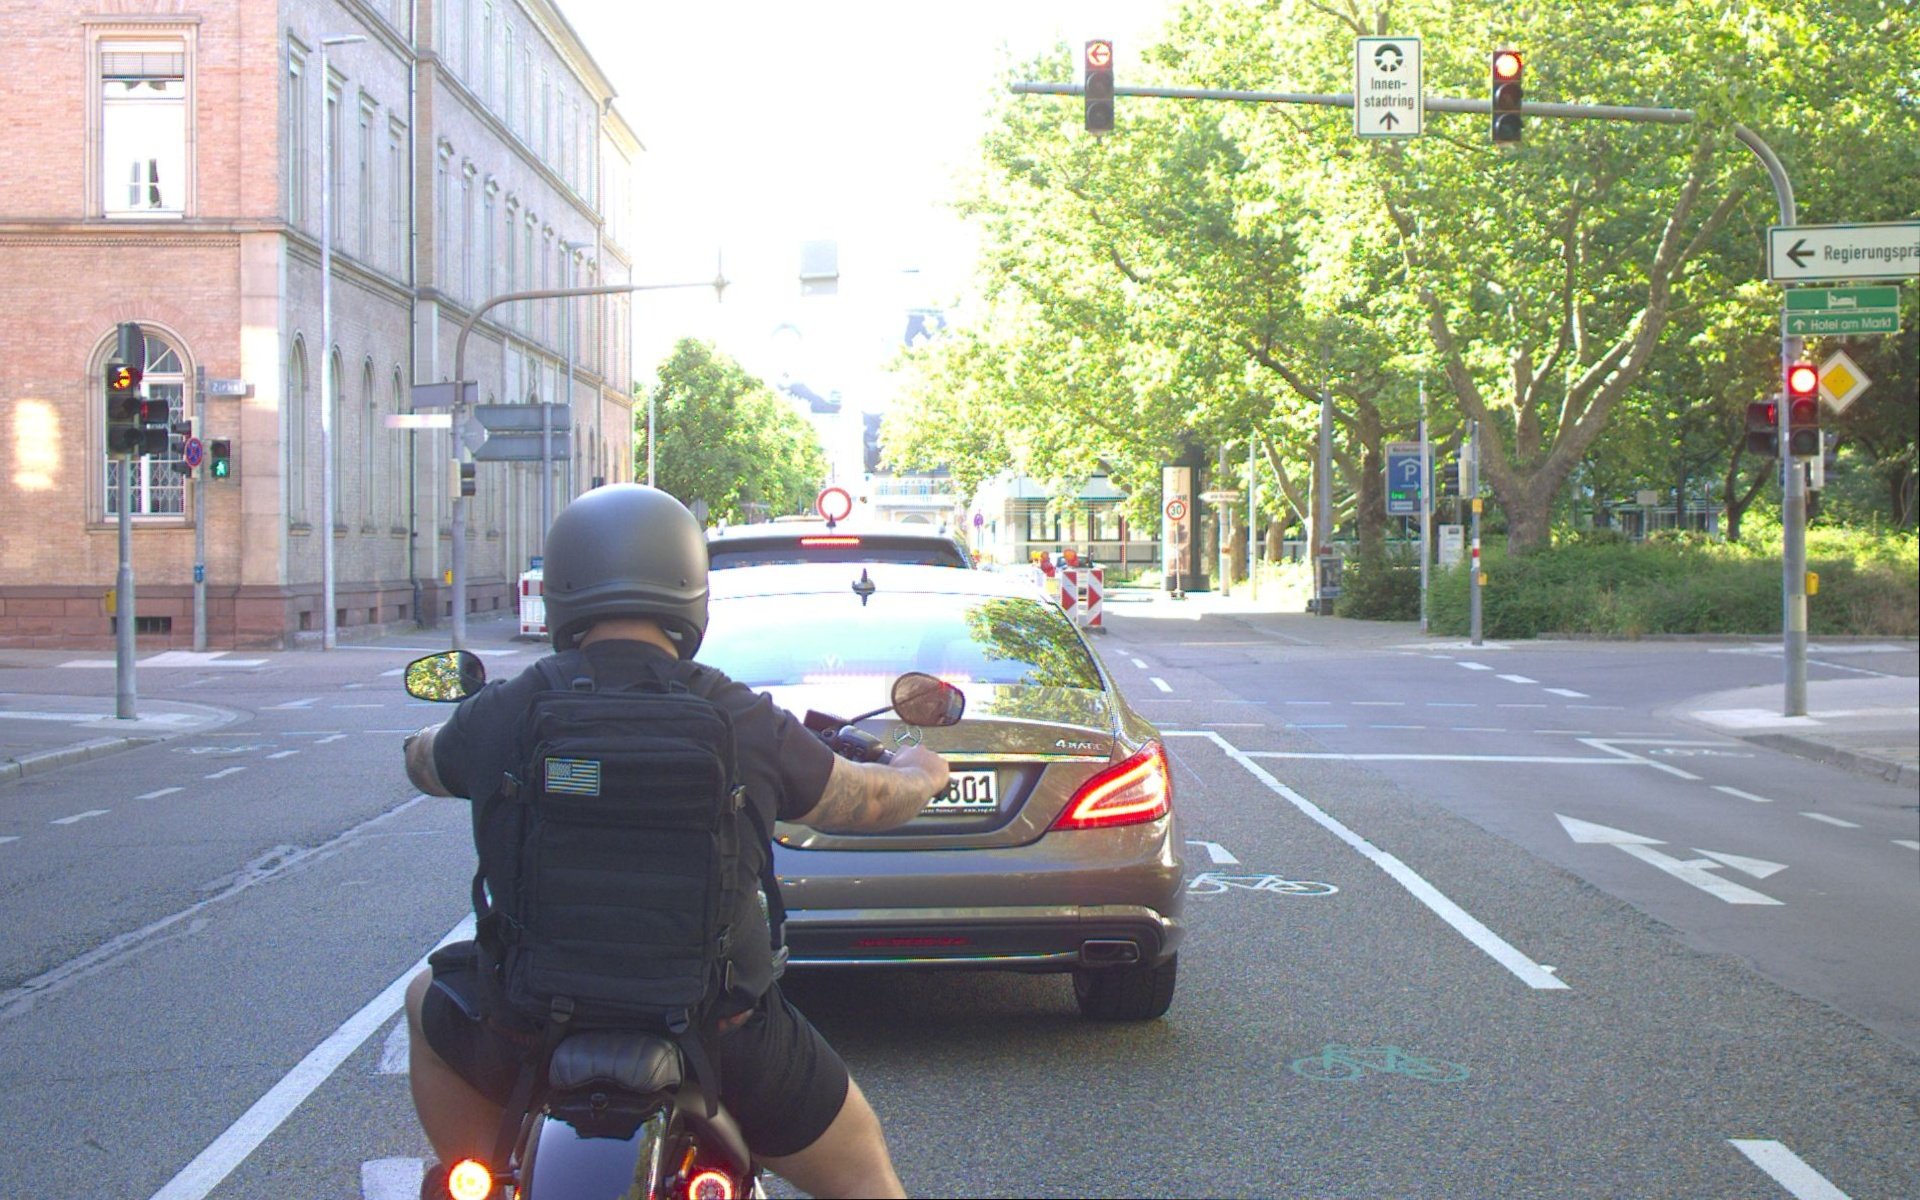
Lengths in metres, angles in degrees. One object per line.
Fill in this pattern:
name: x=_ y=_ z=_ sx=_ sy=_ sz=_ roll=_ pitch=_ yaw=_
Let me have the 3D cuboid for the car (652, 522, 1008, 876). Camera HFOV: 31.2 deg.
car: x=-0.636 y=0.408 z=17.755 sx=1.612 sy=1.602 sz=4.329 roll=0 pitch=1 yaw=-1

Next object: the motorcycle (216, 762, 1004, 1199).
motorcycle: x=-0.453 y=0.879 z=5.554 sx=0.989 sy=1.075 sz=2.452 roll=0 pitch=1 yaw=-1

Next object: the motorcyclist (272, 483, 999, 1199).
motorcyclist: x=-0.450 y=0.624 z=5.395 sx=0.989 sy=1.591 sz=1.404 roll=0 pitch=1 yaw=-1

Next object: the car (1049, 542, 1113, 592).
car: x=3.720 y=-1.015 z=106.292 sx=1.821 sy=1.475 sz=3.908 roll=-1 pitch=1 yaw=0

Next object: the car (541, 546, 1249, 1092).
car: x=-0.429 y=0.558 z=11.590 sx=1.945 sy=1.468 sz=4.363 roll=0 pitch=1 yaw=-7
